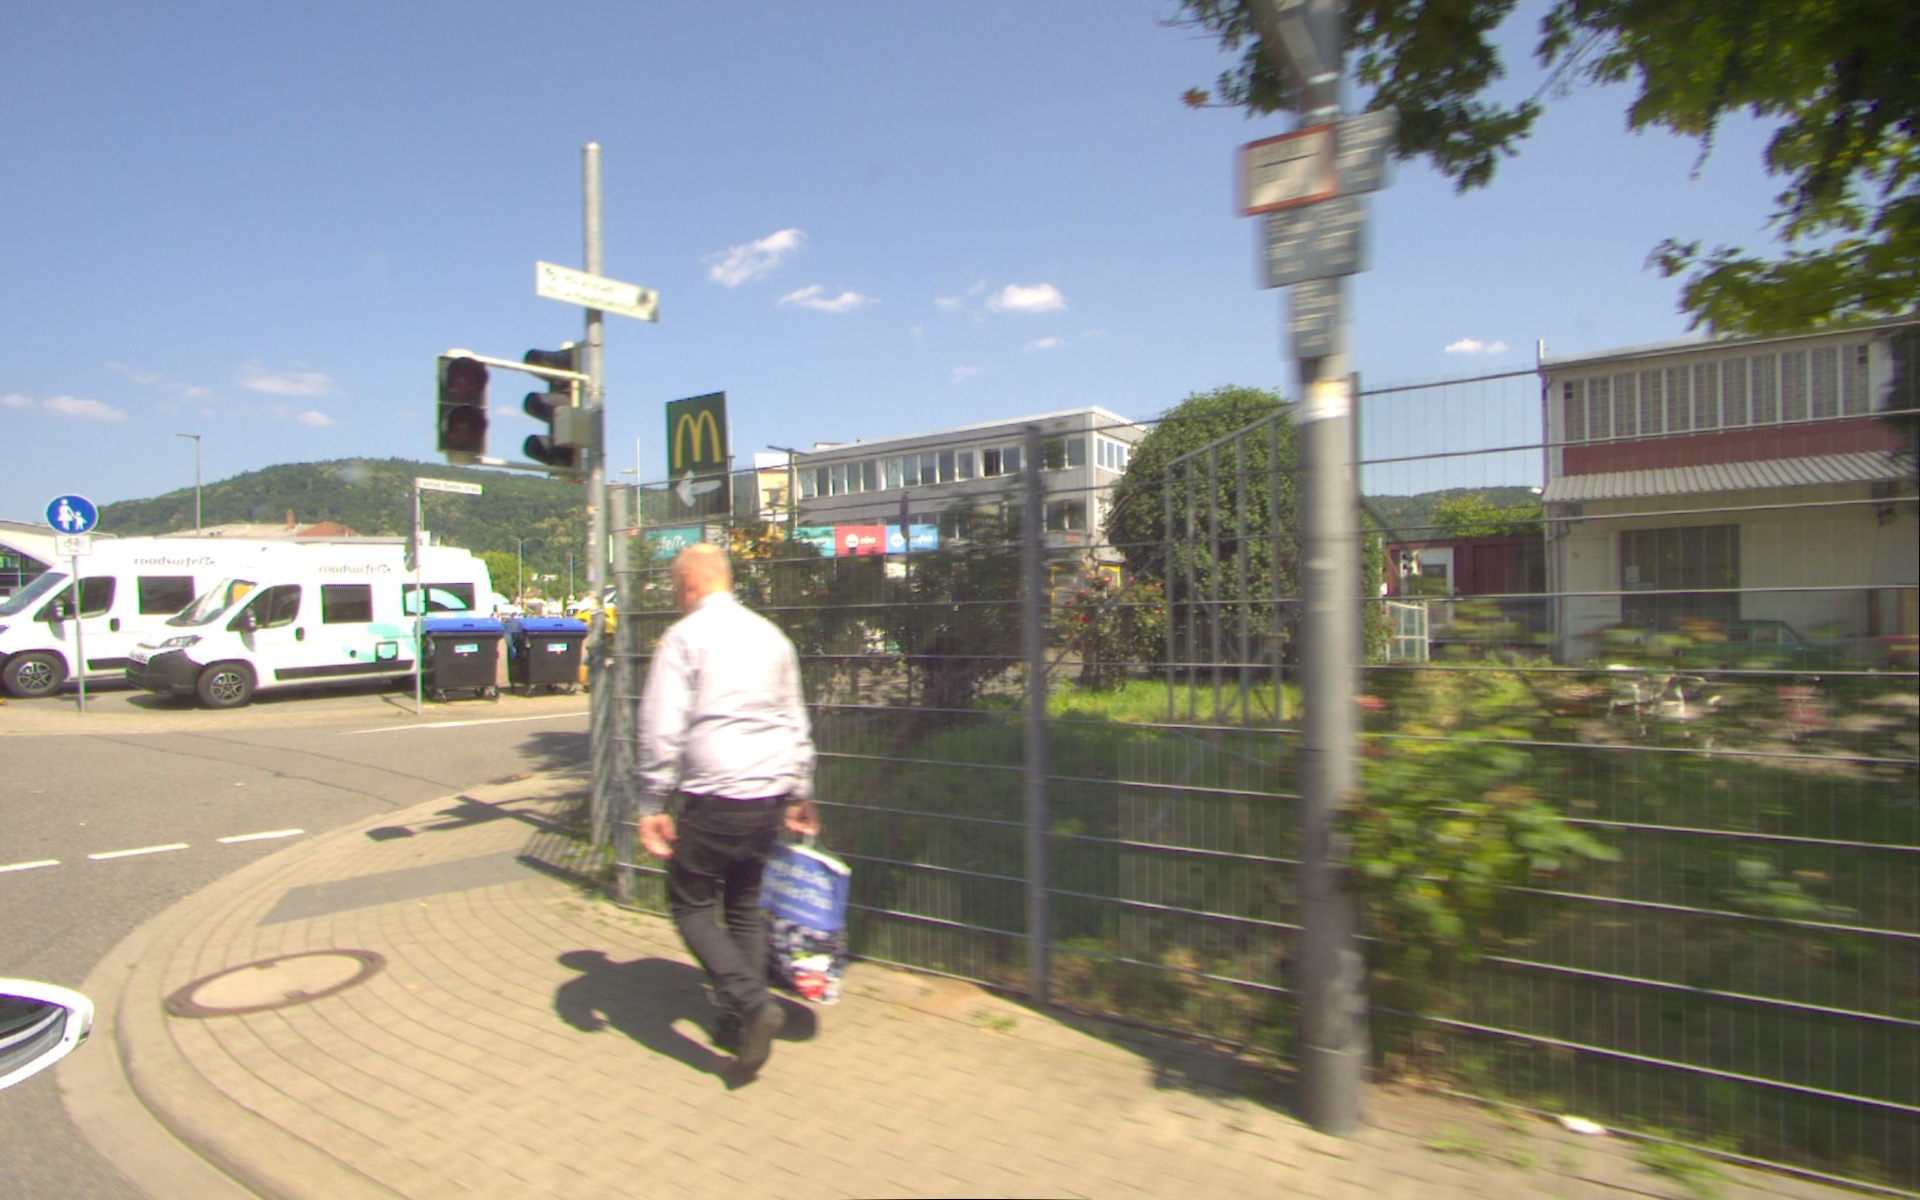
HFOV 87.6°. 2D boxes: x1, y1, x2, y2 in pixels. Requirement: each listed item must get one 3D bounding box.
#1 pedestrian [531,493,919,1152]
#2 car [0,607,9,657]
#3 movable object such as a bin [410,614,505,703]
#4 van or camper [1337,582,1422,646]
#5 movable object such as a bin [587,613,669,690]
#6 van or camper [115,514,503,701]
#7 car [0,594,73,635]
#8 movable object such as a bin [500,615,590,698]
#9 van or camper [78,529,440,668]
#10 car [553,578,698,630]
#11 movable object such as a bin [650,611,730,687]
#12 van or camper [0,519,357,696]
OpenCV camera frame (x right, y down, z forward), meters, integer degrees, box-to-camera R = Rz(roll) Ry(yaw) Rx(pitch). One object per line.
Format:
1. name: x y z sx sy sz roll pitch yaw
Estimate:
1. pedestrian: -0.721 0.586 3.185 0.874 1.722 0.811 0 1 31
2. car: -34.059 1.105 33.765 1.973 1.756 4.538 0 -1 -32
3. movable object such as a bin: -8.970 1.013 17.887 1.245 1.477 1.068 0 2 -45
4. van or camper: 19.257 0.661 45.766 2.314 2.714 6.704 0 -1 34
5. movable object such as a bin: -6.793 1.026 20.504 1.008 1.495 1.230 2 1 41
6. van or camper: -11.434 0.151 18.038 2.021 2.852 5.487 2 0 37
7. car: -46.480 0.707 49.392 2.060 1.935 4.633 1 0 -13
8. movable object such as a bin: -7.891 1.039 19.035 1.008 1.476 1.278 2 1 44
9. van or camper: -17.191 -0.063 25.149 2.303 2.985 7.042 -1 1 33
10. car: -13.777 0.206 41.547 2.111 2.040 5.431 0 -1 39
11. movable object such as a bin: -5.888 1.040 21.874 1.051 1.552 1.323 2 1 41
12. van or camper: -14.662 0.120 18.406 2.063 2.811 5.792 1 1 36
